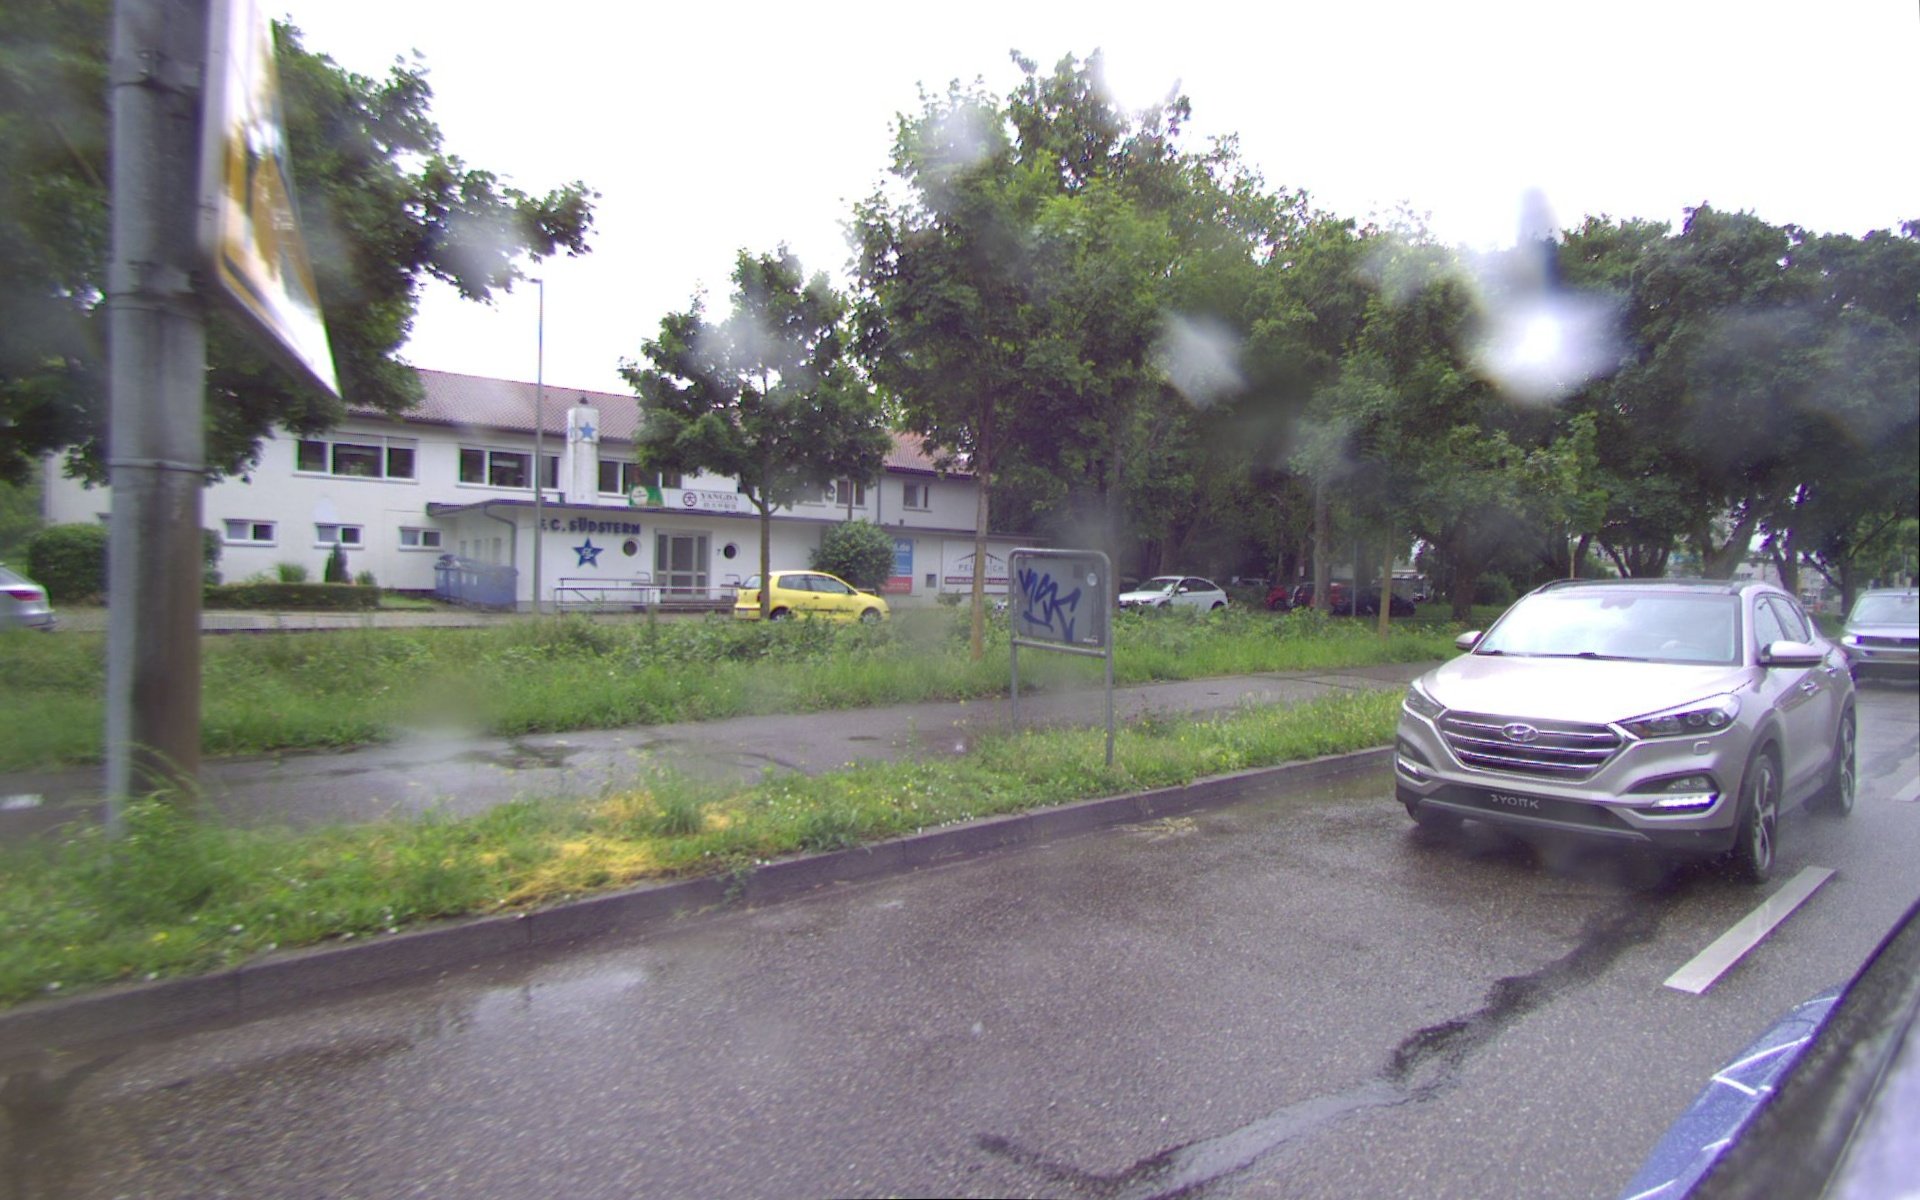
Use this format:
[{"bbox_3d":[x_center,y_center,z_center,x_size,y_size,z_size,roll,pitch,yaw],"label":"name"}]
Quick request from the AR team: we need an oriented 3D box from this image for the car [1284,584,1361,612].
[{"bbox_3d":[19.766,-0.100,55.240,3.691,1.467,1.665,0,0,10],"label":"car"}]

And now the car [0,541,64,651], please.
[{"bbox_3d":[-16.225,-0.090,14.780,4.557,1.645,1.999,0,2,-38],"label":"car"}]

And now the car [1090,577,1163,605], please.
[{"bbox_3d":[8.226,-0.446,49.892,3.637,1.332,1.574,0,0,-41],"label":"car"}]

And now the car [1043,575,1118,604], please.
[{"bbox_3d":[6.148,-0.515,51.491,3.930,1.403,1.586,0,0,-41],"label":"car"}]

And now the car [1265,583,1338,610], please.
[{"bbox_3d":[19.384,-0.203,57.604,3.691,1.467,1.599,0,0,10],"label":"car"}]

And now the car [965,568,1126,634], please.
[{"bbox_3d":[2.526,-0.005,29.256,4.560,1.738,1.998,0,2,-40],"label":"car"}]

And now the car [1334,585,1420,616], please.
[{"bbox_3d":[19.285,0.033,46.895,3.330,1.369,1.522,0,0,7],"label":"car"}]

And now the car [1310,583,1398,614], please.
[{"bbox_3d":[19.437,-0.089,50.051,3.682,1.467,1.669,0,0,1],"label":"car"}]

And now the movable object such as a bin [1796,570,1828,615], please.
[{"bbox_3d":[87.635,-0.758,104.076,3.836,4.482,1.558,0,-1,-36],"label":"movable object such as a bin"}]

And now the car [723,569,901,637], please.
[{"bbox_3d":[-3.507,0.058,24.410,4.001,1.505,1.640,0,0,-40],"label":"car"}]

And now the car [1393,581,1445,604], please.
[{"bbox_3d":[40.923,-0.680,90.371,1.885,1.989,4.203,0,0,-16],"label":"car"}]

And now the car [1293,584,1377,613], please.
[{"bbox_3d":[19.370,-0.092,52.409,3.682,1.467,1.669,0,0,1],"label":"car"}]

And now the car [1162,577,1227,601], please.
[{"bbox_3d":[16.620,-0.785,71.926,1.864,1.630,4.295,0,0,-36],"label":"car"}]

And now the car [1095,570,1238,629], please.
[{"bbox_3d":[6.710,-0.045,32.620,4.792,1.738,1.998,0,2,-40],"label":"car"}]

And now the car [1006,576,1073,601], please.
[{"bbox_3d":[4.779,-0.663,61.388,1.706,1.474,3.992,0,0,-42],"label":"car"}]

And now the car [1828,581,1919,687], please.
[{"bbox_3d":[18.042,0.579,18.919,4.480,1.818,1.998,0,0,-39],"label":"car"}]

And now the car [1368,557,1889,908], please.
[{"bbox_3d":[4.640,0.594,6.772,4.122,1.630,1.887,0,1,-41],"label":"car"}]
